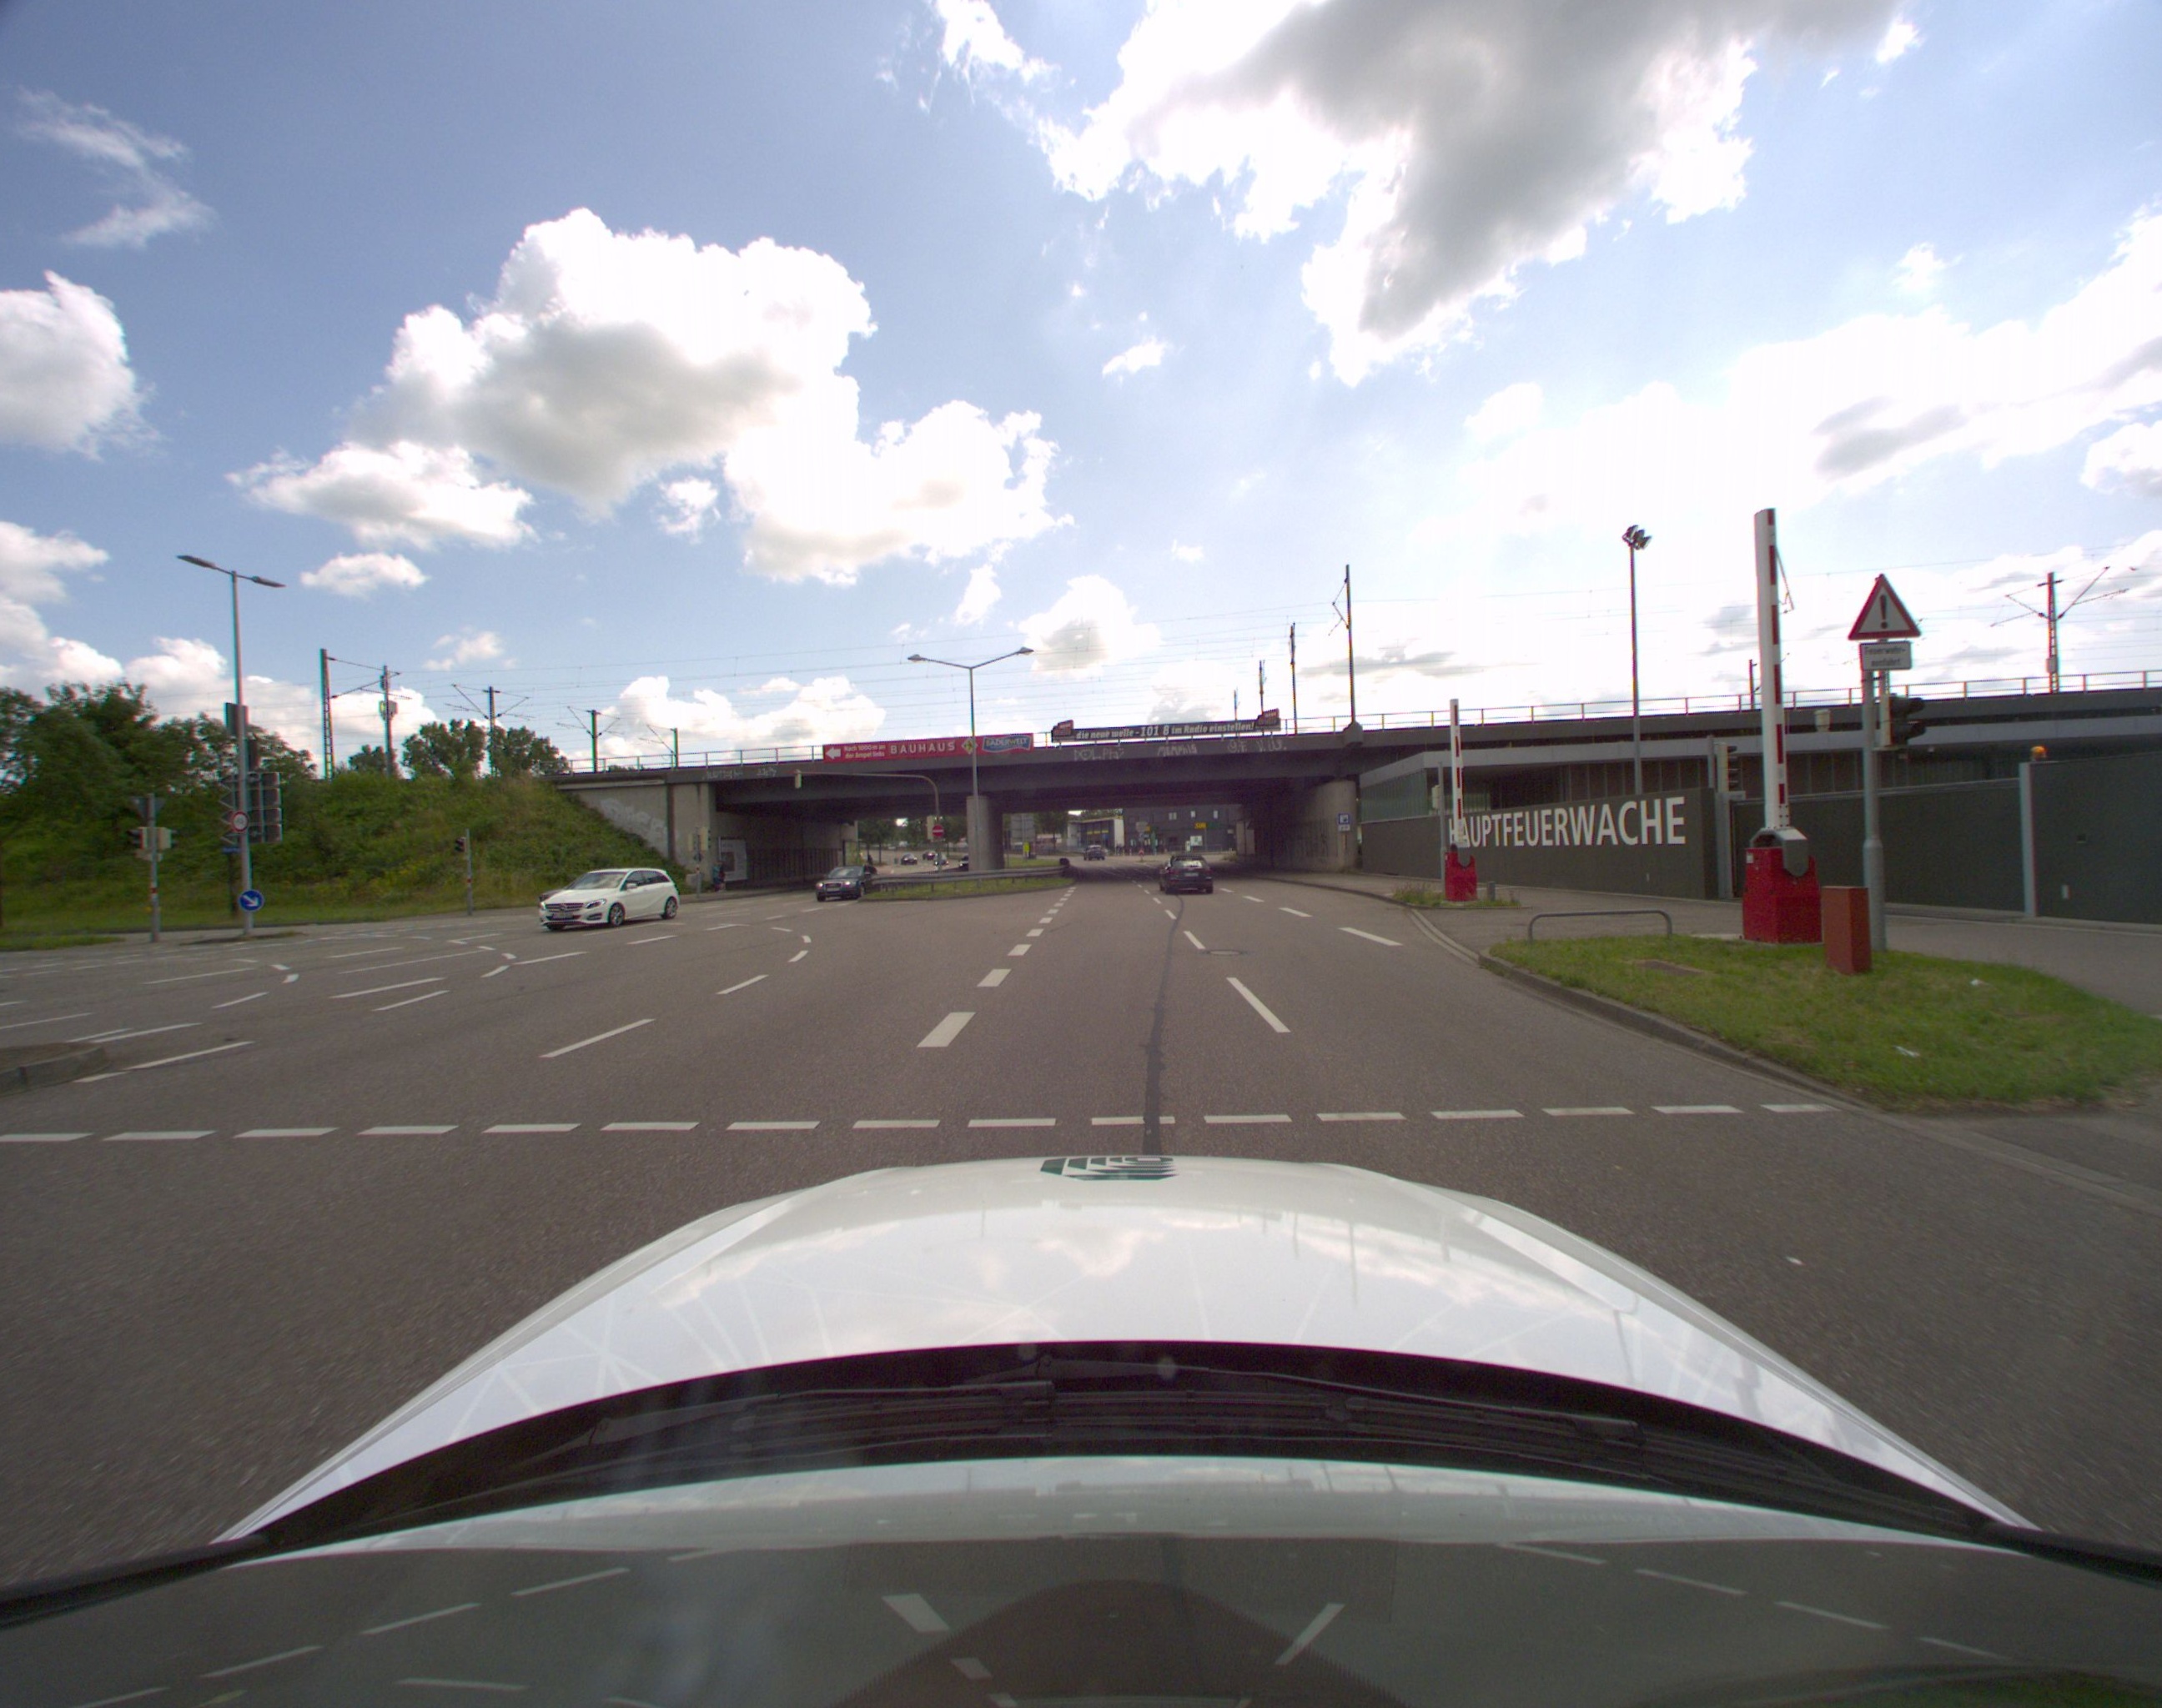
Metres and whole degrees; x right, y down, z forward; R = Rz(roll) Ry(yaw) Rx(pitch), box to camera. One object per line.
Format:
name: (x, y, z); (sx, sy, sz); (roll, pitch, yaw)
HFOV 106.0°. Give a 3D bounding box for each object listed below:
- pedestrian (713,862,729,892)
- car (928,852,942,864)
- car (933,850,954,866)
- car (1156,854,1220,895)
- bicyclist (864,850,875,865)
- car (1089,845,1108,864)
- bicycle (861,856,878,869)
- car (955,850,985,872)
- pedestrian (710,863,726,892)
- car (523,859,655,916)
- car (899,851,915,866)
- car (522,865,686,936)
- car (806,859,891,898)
pedestrian: (-20.222, 1.289, 45.778); (0.589, 1.681, 0.556); (-2, 0, -1)
car: (-24.129, 0.654, 134.662); (1.992, 2.013, 4.325); (-2, 0, -8)
car: (-18.420, 0.469, 109.251); (1.987, 2.013, 4.337); (-2, 0, 0)
car: (4.077, 0.724, 31.703); (1.986, 1.390, 4.578); (-1, 1, 2)
bicyclist: (-19.549, 0.339, 75.361); (0.677, 1.408, 0.927); (-1, 0, 9)
car: (2.009, 0.052, 92.973); (1.986, 2.037, 4.715); (-3, 0, 2)
bicycle: (-19.543, 0.783, 75.342); (0.676, 1.142, 2.289); (-1, 0, 9)
car: (-9.874, 0.609, 72.745); (1.987, 1.759, 4.716); (-2, 0, 0)
pedestrian: (-20.736, 1.323, 46.529); (0.552, 1.625, 0.586); (-2, 0, 3)
car: (-19.632, 1.313, 32.688); (1.975, 2.013, 4.025); (-3, 0, 28)
car: (-25.338, 0.642, 118.963); (1.993, 2.013, 4.323); (-2, 0, -9)
car: (-13.031, 1.189, 22.629); (1.799, 1.632, 4.394); (-2, 0, 2)
car: (-9.652, 0.965, 34.208); (1.966, 1.389, 4.783); (-3, 0, 2)
